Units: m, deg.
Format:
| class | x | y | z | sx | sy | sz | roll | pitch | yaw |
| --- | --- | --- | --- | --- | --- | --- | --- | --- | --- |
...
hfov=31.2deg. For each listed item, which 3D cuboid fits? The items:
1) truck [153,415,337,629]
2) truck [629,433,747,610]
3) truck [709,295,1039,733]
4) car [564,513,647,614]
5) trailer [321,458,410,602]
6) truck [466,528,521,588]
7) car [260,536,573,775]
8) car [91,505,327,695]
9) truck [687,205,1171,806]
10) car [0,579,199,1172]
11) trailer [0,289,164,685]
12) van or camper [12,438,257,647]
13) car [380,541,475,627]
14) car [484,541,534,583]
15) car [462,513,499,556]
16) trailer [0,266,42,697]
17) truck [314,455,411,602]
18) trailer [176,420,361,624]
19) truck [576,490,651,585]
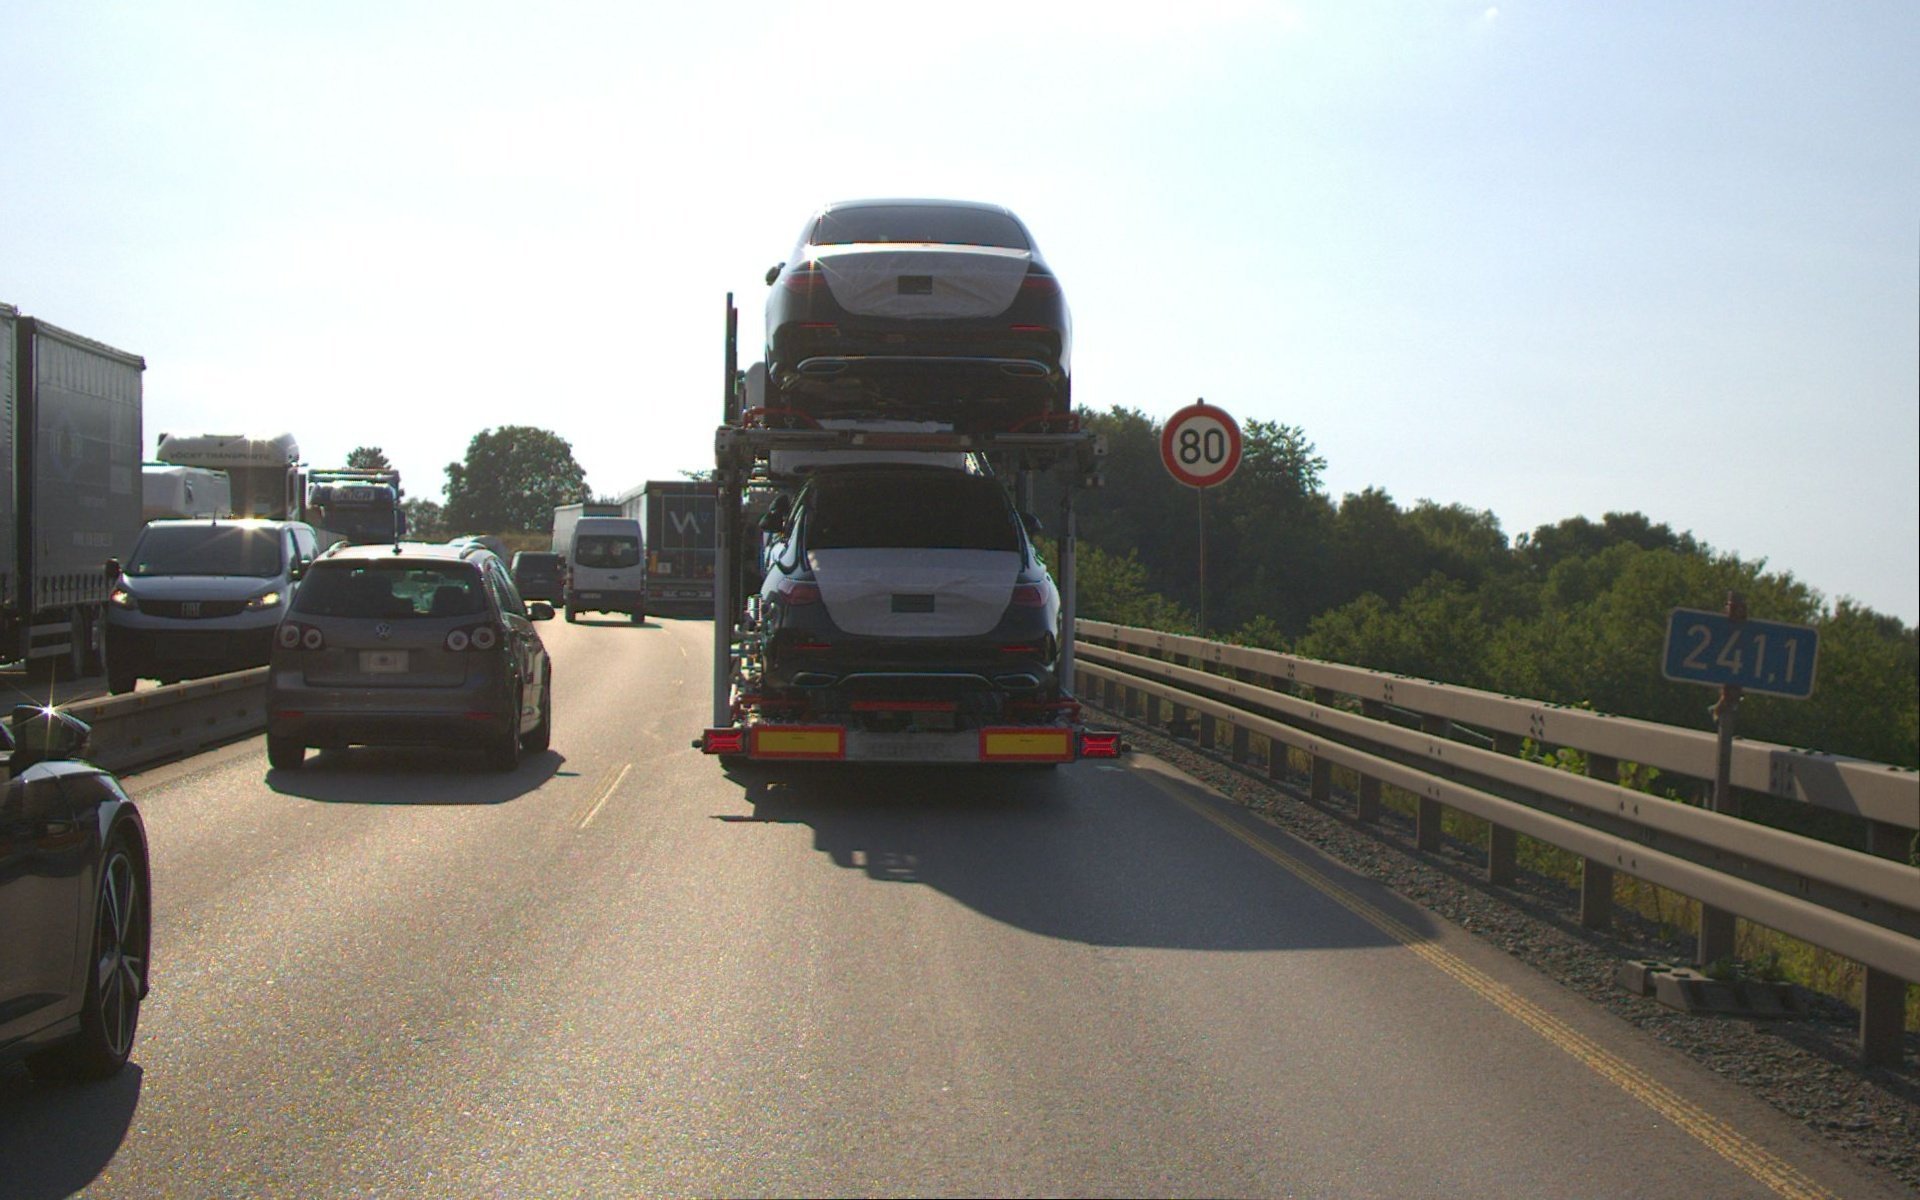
| class | x | y | z | sx | sy | sz | roll | pitch | yaw |
| --- | --- | --- | --- | --- | --- | --- | --- | --- | --- |
| truck | -13.167 | -1.384 | 63.714 | 2.600 | 3.741 | 6.518 | 1 | 0 | -5 |
| truck | -8.552 | -2.362 | 106.927 | 3.285 | 5.219 | 9.938 | 1 | 0 | -6 |
| truck | -1.030 | -0.769 | 34.873 | 2.837 | 3.779 | 9.988 | 1 | 0 | -3 |
| car | -9.009 | -0.916 | 87.671 | 1.920 | 2.484 | 5.409 | 1 | 0 | -4 |
| trailer | -18.216 | -2.046 | 105.935 | 2.306 | 4.116 | 14.604 | 1 | 0 | -8 |
| truck | -25.343 | -2.257 | 186.990 | 2.590 | 3.159 | 6.678 | 1 | 0 | -5 |
| car | -3.882 | 0.361 | 25.132 | 1.691 | 1.590 | 4.000 | 1 | 0 | -1 |
| car | -8.101 | -0.013 | 37.473 | 1.816 | 1.919 | 4.837 | 1 | 0 | -4 |
| truck | -0.487 | -0.575 | 25.406 | 2.799 | 3.485 | 10.606 | 1 | 0 | -3 |
| car | -3.256 | 0.662 | 8.116 | 1.934 | 1.394 | 4.961 | 1 | 1 | -2 |
| trailer | -11.286 | -1.231 | 40.489 | 2.442 | 4.174 | 8.545 | 1 | 0 | -4 |
| van or camper | -12.237 | -0.823 | 51.548 | 2.407 | 2.881 | 7.619 | 1 | 0 | -5 |
| car | -10.829 | -0.330 | 70.162 | 1.756 | 1.689 | 4.454 | 1 | 0 | -7 |
| car | -19.572 | -1.640 | 149.336 | 1.826 | 1.766 | 4.000 | 1 | 0 | -3 |
| car | -22.965 | -3.125 | 164.542 | 1.629 | 2.007 | 4.001 | 1 | 0 | -10 |
| trailer | -10.658 | -1.171 | 30.978 | 2.475 | 4.314 | 10.512 | 1 | 0 | -3 |
| truck | -17.033 | -2.013 | 98.241 | 2.502 | 4.052 | 5.666 | 1 | 0 | -8 |
| trailer | -13.854 | -1.464 | 69.843 | 2.519 | 3.712 | 13.981 | 1 | 0 | -7 |
| truck | -13.709 | -2.426 | 136.490 | 2.530 | 3.635 | 8.906 | 1 | 0 | -3 |
